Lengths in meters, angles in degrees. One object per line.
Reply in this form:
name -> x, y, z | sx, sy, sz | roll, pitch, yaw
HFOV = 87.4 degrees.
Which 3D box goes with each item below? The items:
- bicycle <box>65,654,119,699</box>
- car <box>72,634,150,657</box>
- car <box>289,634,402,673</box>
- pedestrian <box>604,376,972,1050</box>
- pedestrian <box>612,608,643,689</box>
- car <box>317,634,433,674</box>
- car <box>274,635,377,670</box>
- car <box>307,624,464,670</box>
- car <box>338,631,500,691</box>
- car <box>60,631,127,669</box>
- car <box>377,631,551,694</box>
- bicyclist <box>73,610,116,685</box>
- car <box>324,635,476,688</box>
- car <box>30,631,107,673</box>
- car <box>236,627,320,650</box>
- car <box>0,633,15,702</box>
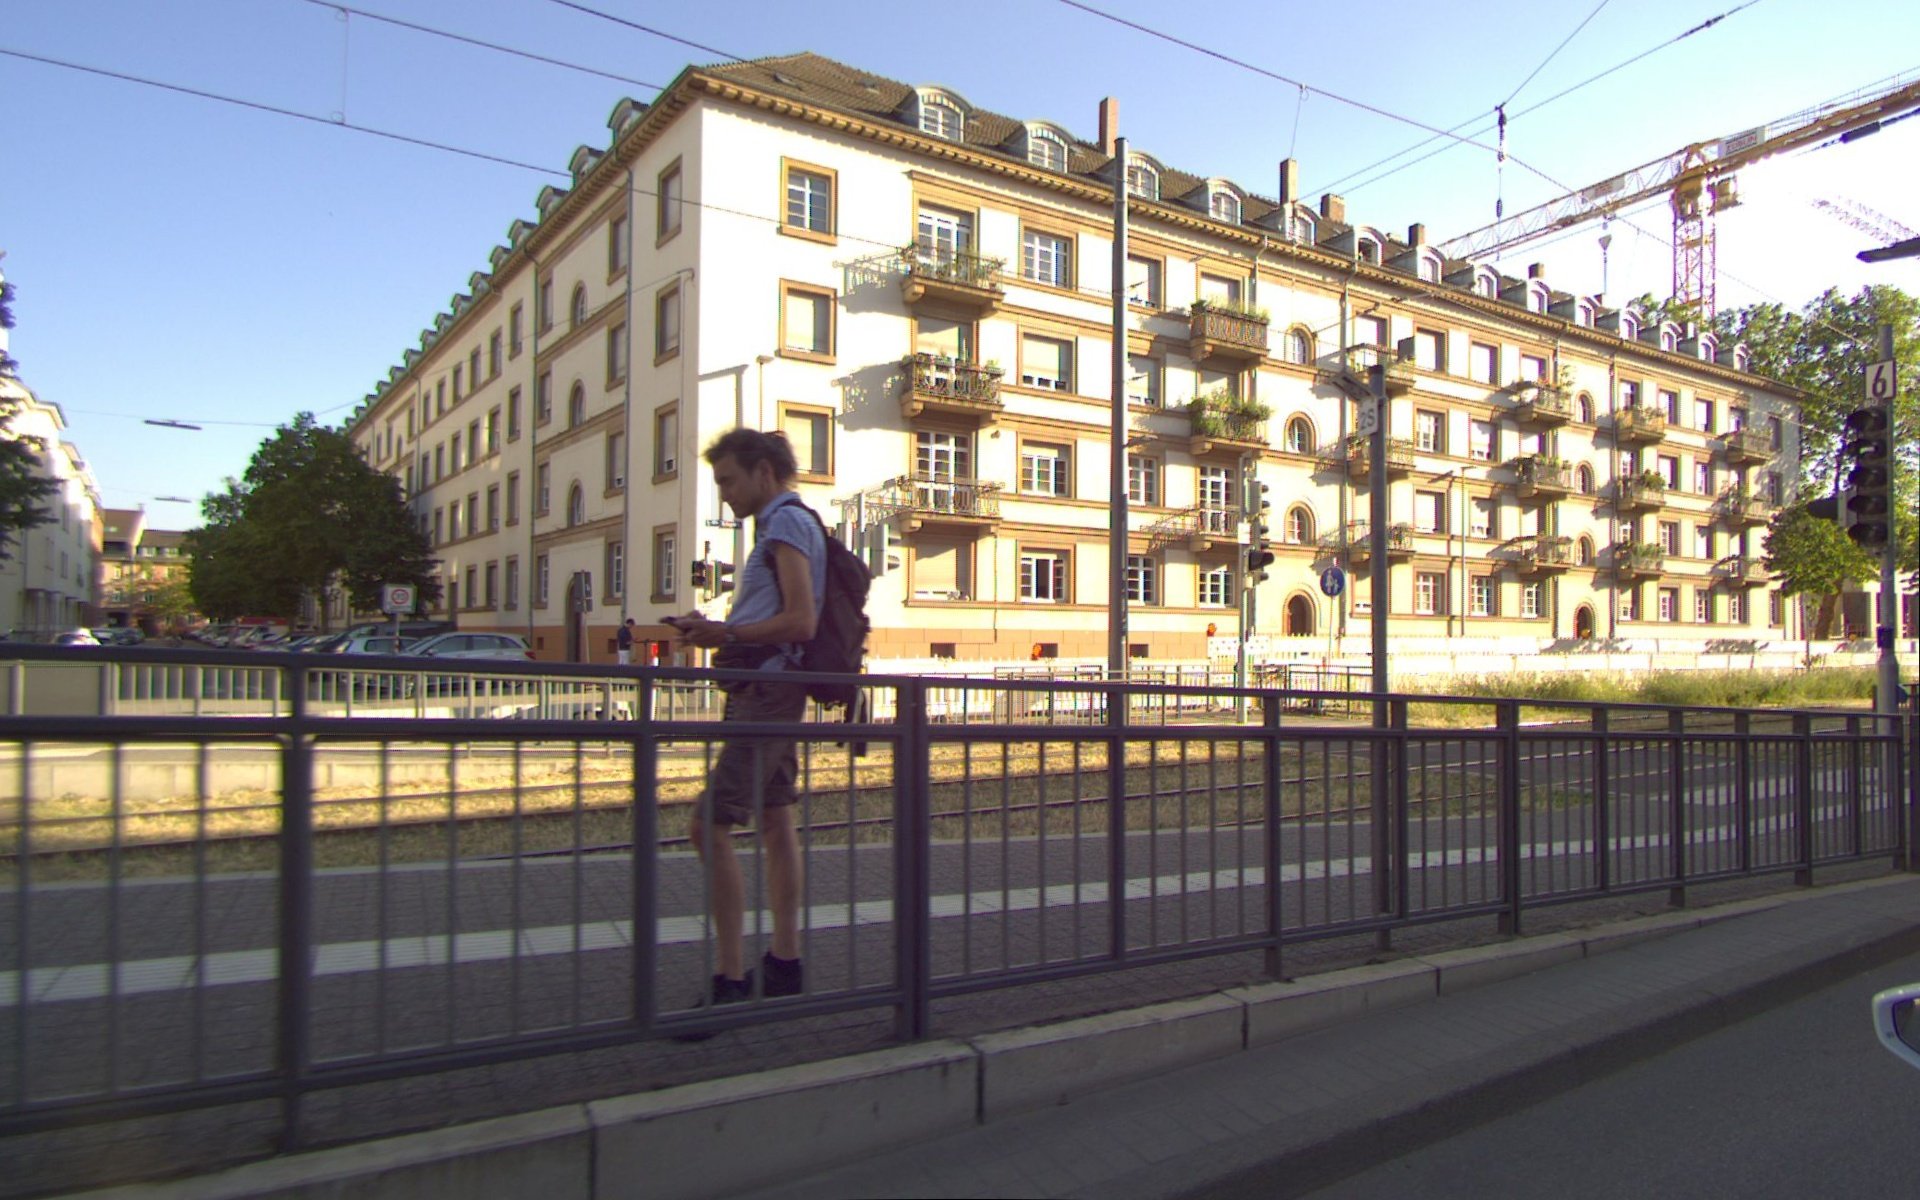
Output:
bicycle -> -19.964, 1.751, 23.134 | 0.678, 0.960, 1.726 | 2, -2, -33
car -> -58.970, 3.173, 69.847 | 3.961, 1.521, 1.825 | 1, -2, -36
car -> -25.842, 2.218, 42.291 | 3.961, 1.521, 1.825 | 1, -2, -36
pedestrian -> -0.520, 0.296, 2.989 | 0.857, 1.664, 0.651 | 3, -2, -30
pedestrian -> -8.542, 1.244, 25.794 | 0.618, 2.040, 0.797 | 1, -2, -30
car -> -23.933, 2.177, 41.112 | 3.961, 1.521, 1.825 | 1, -2, -36
car -> -29.343, 2.409, 46.496 | 3.961, 1.521, 1.825 | 1, -2, -36
car -> -20.303, 1.621, 35.590 | 4.667, 1.521, 1.825 | 1, -2, -36
car -> -15.671, 1.719, 29.182 | 3.961, 1.606, 1.825 | 1, -2, -36
car -> -38.022, 2.160, 44.172 | 1.825, 1.606, 4.116 | 1, -2, -35
car -> -13.614, 1.662, 27.650 | 4.090, 1.606, 1.825 | 1, -2, -36
bicyclist -> -19.995, 1.090, 23.211 | 0.660, 1.702, 0.482 | 2, -2, -34
car -> -17.363, 1.852, 31.224 | 3.961, 1.521, 1.825 | 1, -2, -36
car -> -35.375, 2.027, 39.958 | 1.825, 1.606, 4.116 | 1, -2, -35
car -> -46.833, 2.607, 69.039 | 4.667, 1.521, 1.825 | 1, -2, -36
car -> -24.613, 1.578, 22.987 | 4.116, 1.606, 1.825 | 1, -2, -36
